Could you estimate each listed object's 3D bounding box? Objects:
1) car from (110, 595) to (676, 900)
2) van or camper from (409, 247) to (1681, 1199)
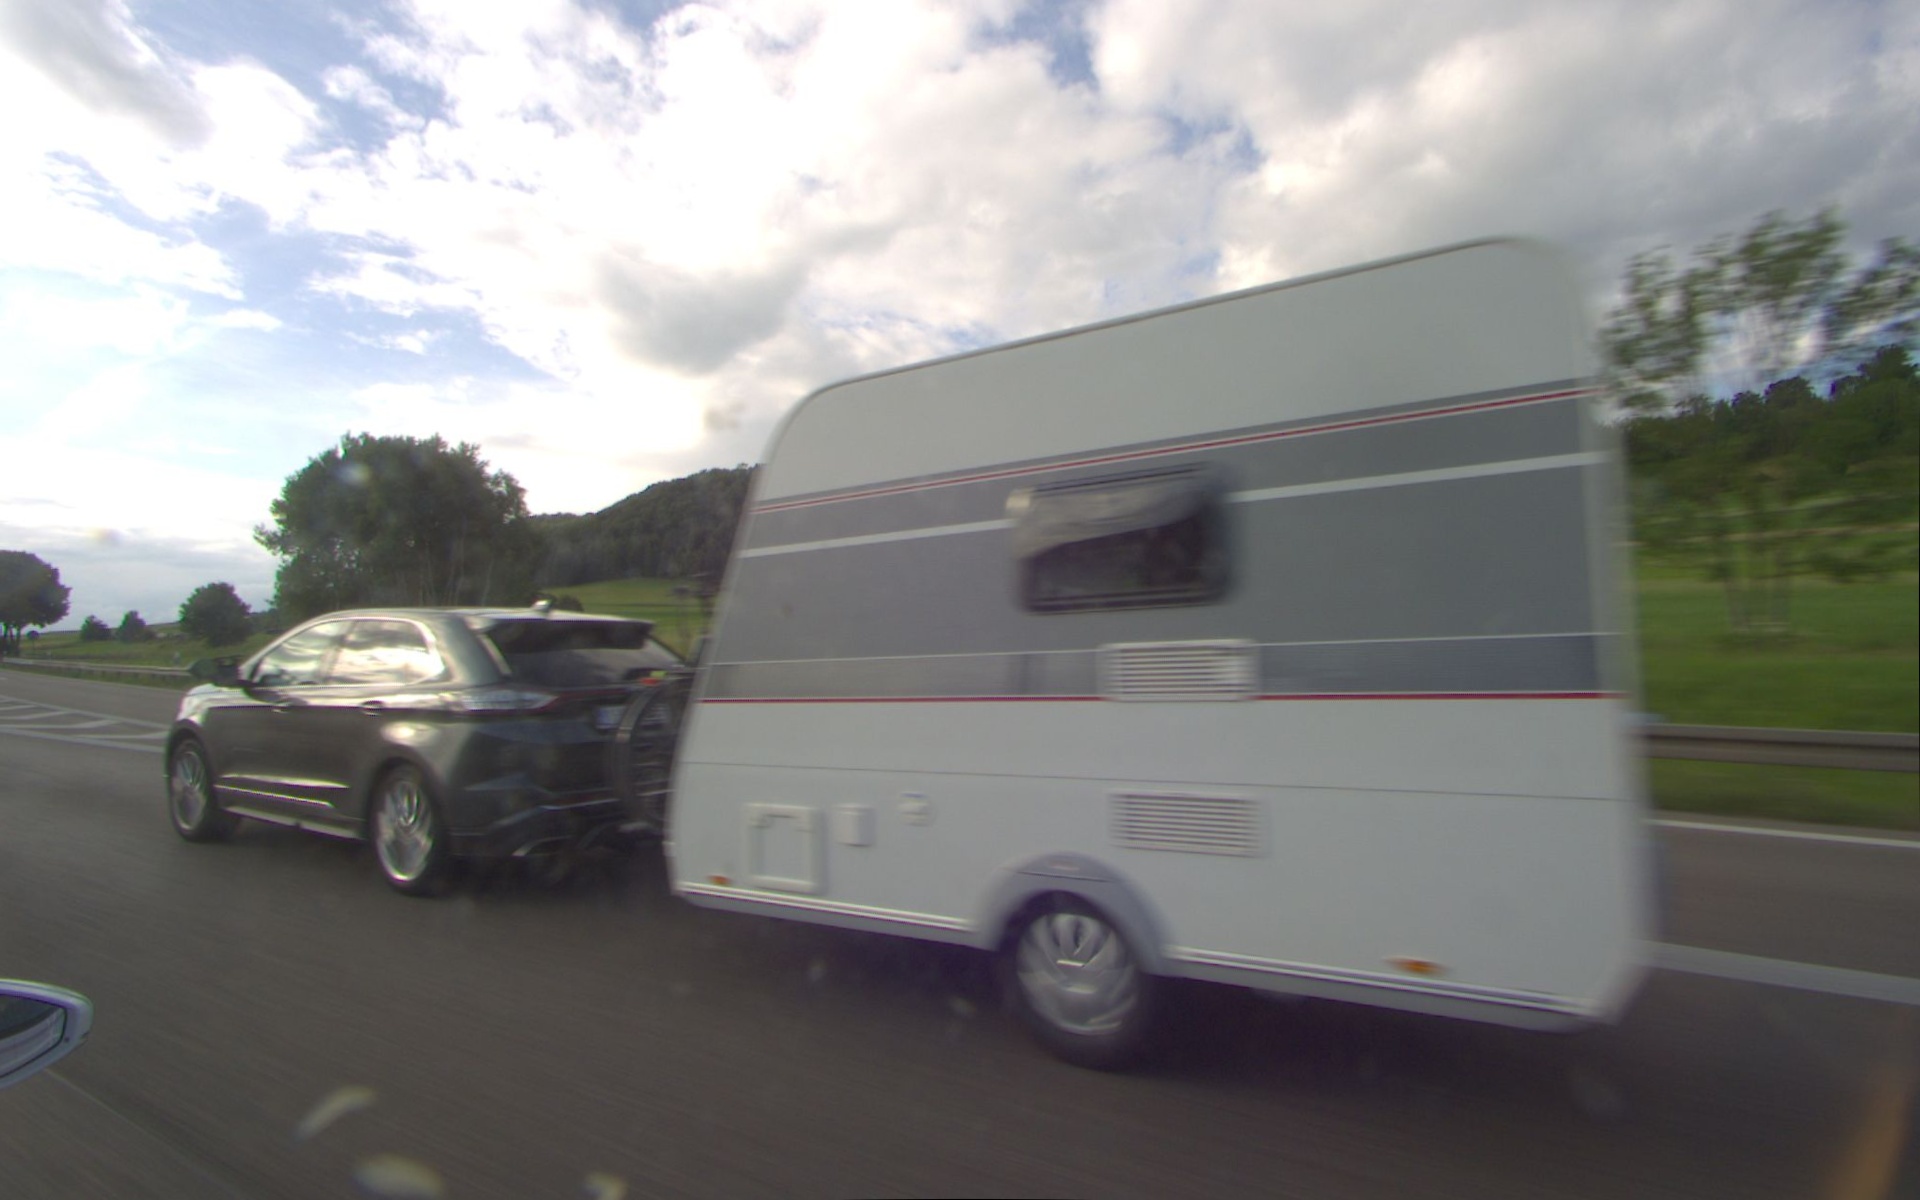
[{"bbox_3d":[-4.331,0.863,7.445,4.417,1.674,1.783,-1,-1,32],"label":"car"},{"bbox_3d":[0.071,0.442,4.693,5.256,2.268,2.542,-1,-2,34],"label":"van or camper"}]
